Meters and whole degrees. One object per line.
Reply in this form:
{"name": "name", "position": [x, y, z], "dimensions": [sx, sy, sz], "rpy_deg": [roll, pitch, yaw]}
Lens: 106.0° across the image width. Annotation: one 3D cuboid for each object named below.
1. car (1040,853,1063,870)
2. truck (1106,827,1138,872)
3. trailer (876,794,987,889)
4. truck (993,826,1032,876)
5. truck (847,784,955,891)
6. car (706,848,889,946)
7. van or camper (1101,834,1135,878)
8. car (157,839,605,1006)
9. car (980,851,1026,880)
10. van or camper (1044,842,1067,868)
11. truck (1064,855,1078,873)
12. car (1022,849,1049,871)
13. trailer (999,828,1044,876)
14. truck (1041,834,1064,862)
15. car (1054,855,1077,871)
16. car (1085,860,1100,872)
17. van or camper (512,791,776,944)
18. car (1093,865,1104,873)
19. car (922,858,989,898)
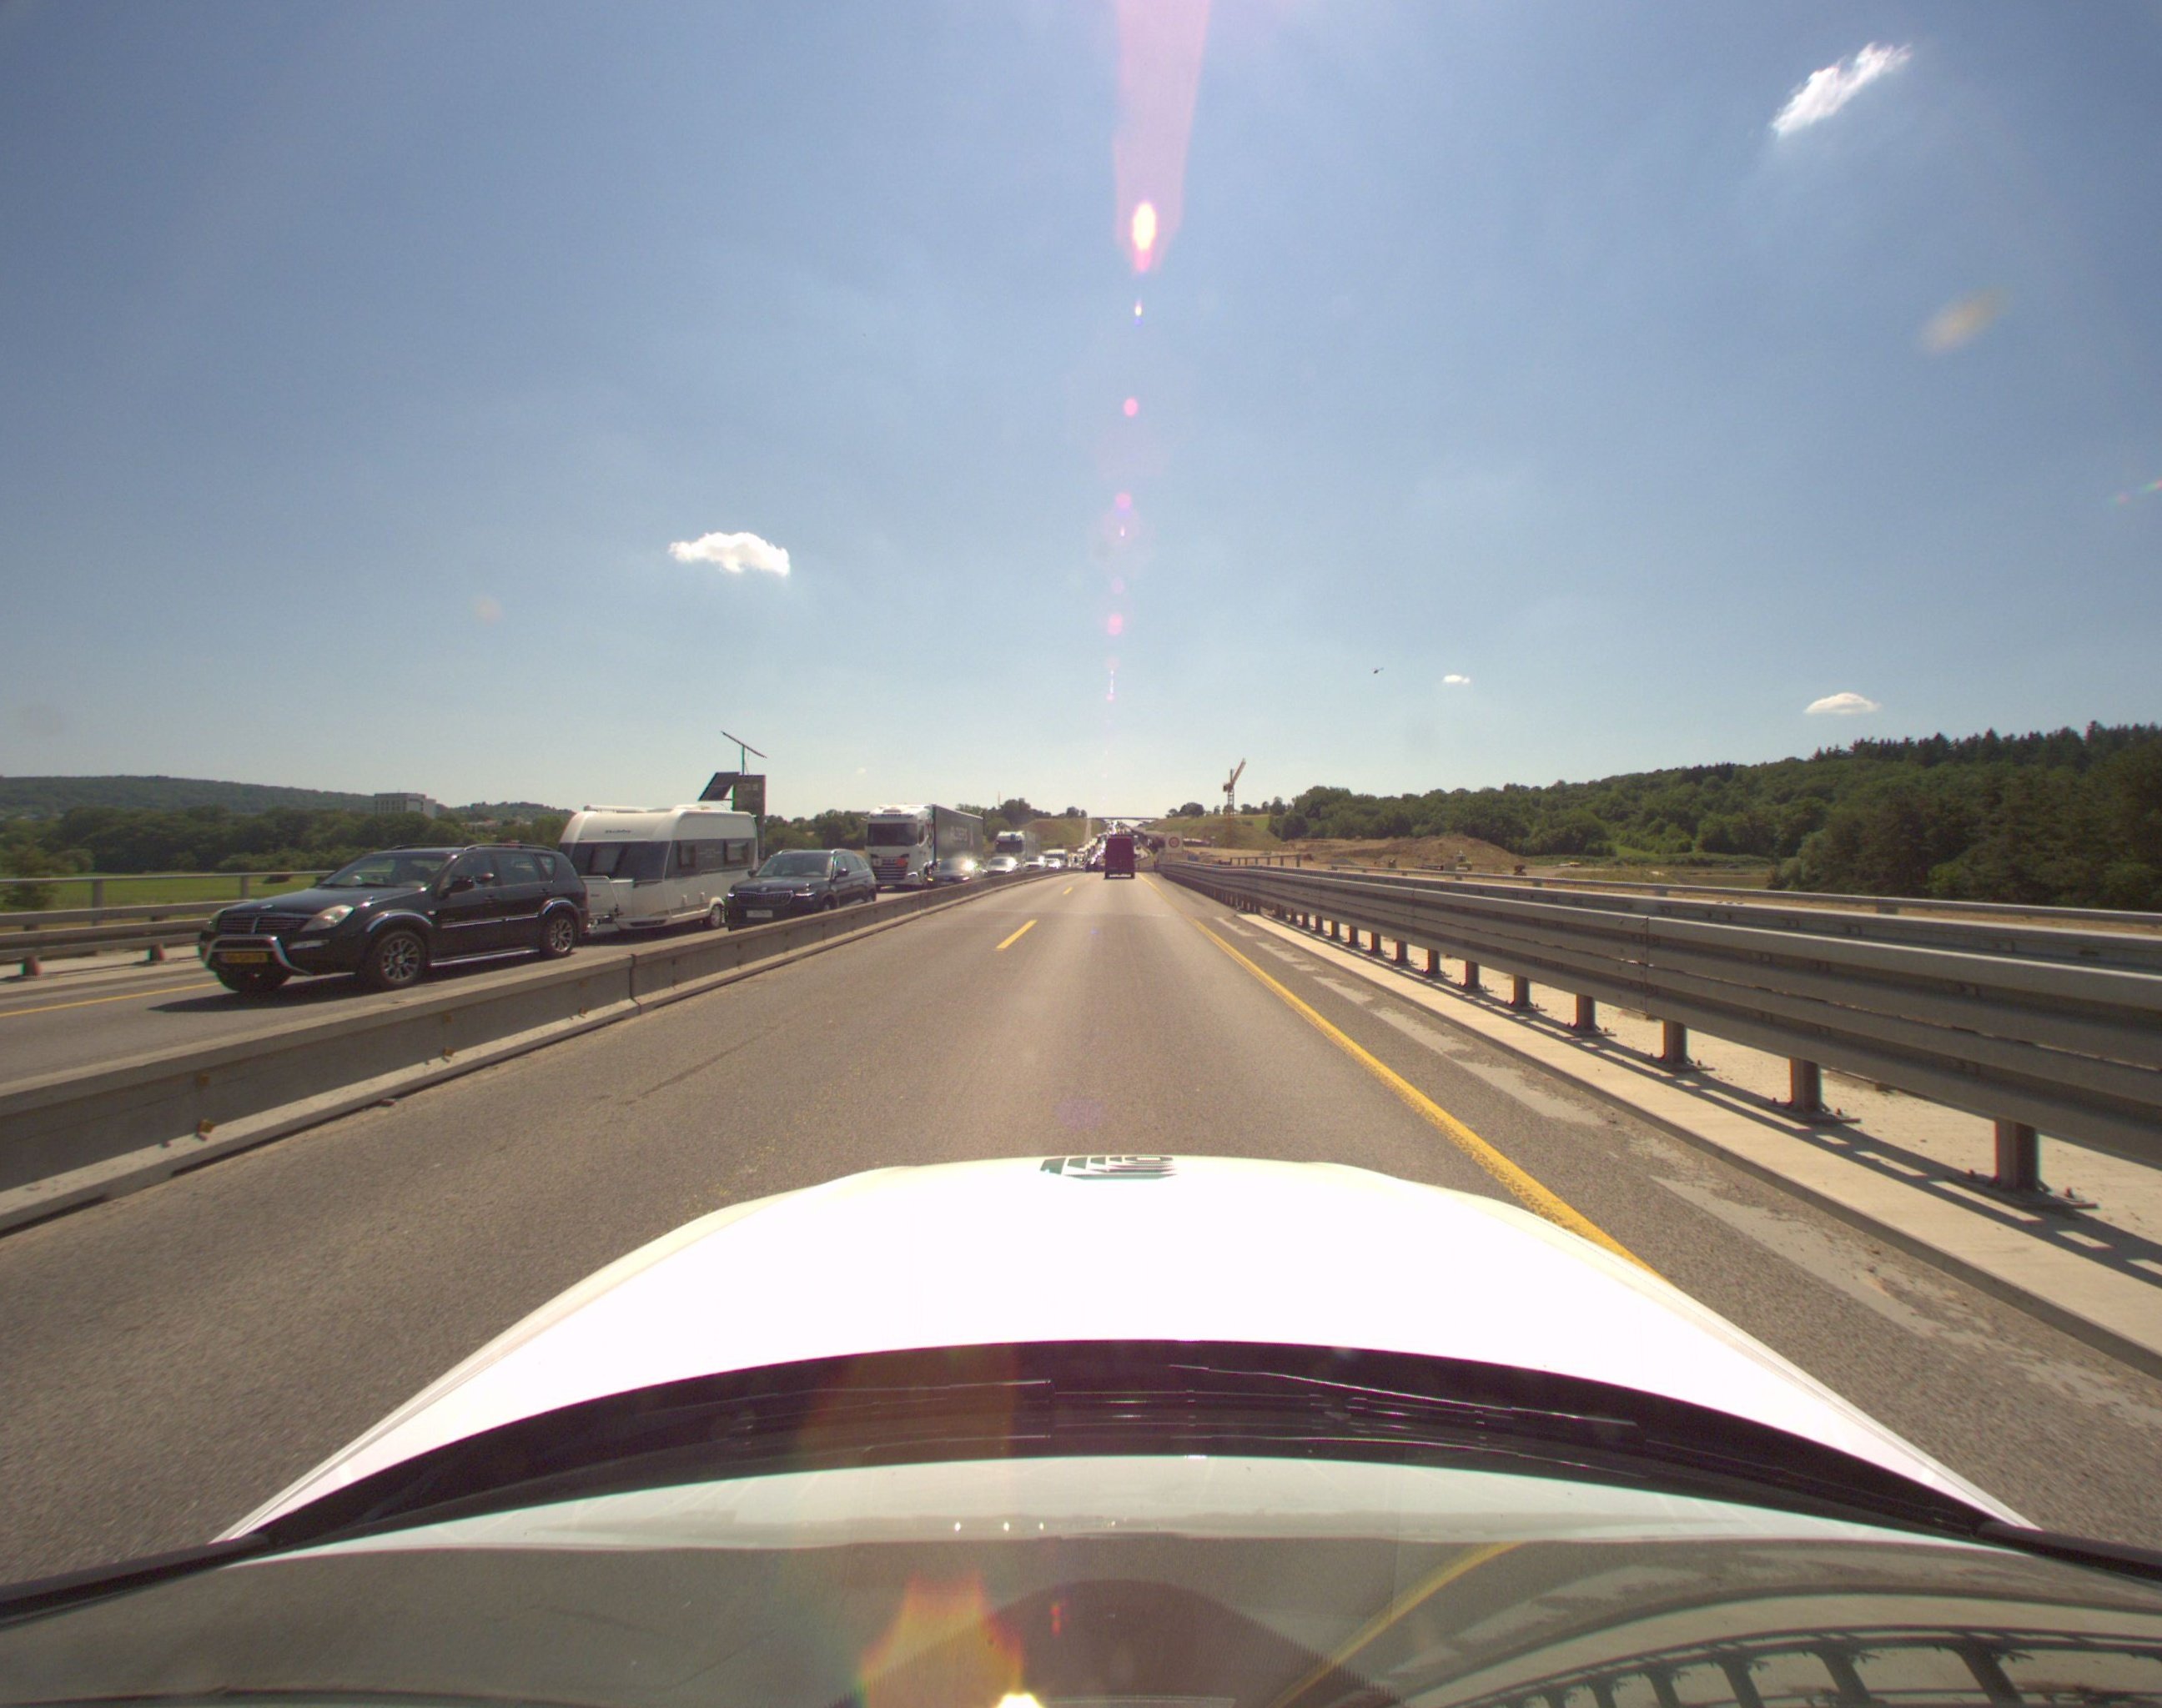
{"name": "car", "position": [-2.709, 0.679, 74.663], "dimensions": [1.988, 1.498, 4.971], "rpy_deg": [1, 0, -2]}
{"name": "truck", "position": [4.499, -0.439, 90.536], "dimensions": [3.010, 4.693, 6.932], "rpy_deg": [-2, 0, 0]}
{"name": "trailer", "position": [-7.884, -0.612, 45.445], "dimensions": [3.089, 4.465, 13.028], "rpy_deg": [-1, 0, 3]}
{"name": "truck", "position": [-6.248, -0.272, 75.132], "dimensions": [2.795, 4.392, 6.229], "rpy_deg": [-1, 0, 3]}
{"name": "truck", "position": [-8.189, -0.695, 38.129], "dimensions": [3.065, 4.537, 7.108], "rpy_deg": [-1, 0, 3]}
{"name": "car", "position": [-5.543, 0.745, 16.631], "dimensions": [1.839, 1.688, 4.623], "rpy_deg": [1, 0, 3]}
{"name": "van or camper", "position": [2.398, 0.134, 53.306], "dimensions": [2.022, 2.744, 4.515], "rpy_deg": [0, 0, 0]}
{"name": "car", "position": [-8.842, 0.732, 11.046], "dimensions": [1.760, 1.734, 4.794], "rpy_deg": [-1, 0, 2]}
{"name": "car", "position": [-4.306, 0.606, 45.486], "dimensions": [1.858, 1.459, 4.610], "rpy_deg": [1, 0, 3]}
{"name": "van or camper", "position": [-2.638, 0.090, 85.090], "dimensions": [2.212, 2.511, 6.530], "rpy_deg": [1, 0, -1]}
{"name": "truck", "position": [-2.378, 2.287, 185.149], "dimensions": [2.970, 4.185, 5.868], "rpy_deg": [0, -1, -3]}
{"name": "car", "position": [-3.546, 0.468, 64.485], "dimensions": [1.750, 1.646, 4.157], "rpy_deg": [1, 0, 2]}
{"name": "trailer", "position": [-5.882, -0.095, 82.545], "dimensions": [2.803, 4.430, 13.176], "rpy_deg": [-1, -1, 3]}
{"name": "truck", "position": [-4.310, -0.861, 124.417], "dimensions": [2.792, 4.152, 10.081], "rpy_deg": [1, 0, 1]}
{"name": "car", "position": [-1.844, 1.032, 98.141], "dimensions": [2.362, 1.726, 5.785], "rpy_deg": [1, 0, 3]}
{"name": "car", "position": [1.491, 1.580, 106.648], "dimensions": [2.005, 1.545, 4.132], "rpy_deg": [0, 0, 1]}
{"name": "van or camper", "position": [-8.824, 0.243, 17.215], "dimensions": [2.493, 2.698, 5.247], "rpy_deg": [-1, 0, 3]}
{"name": "car", "position": [3.304, 2.840, 154.339], "dimensions": [2.004, 1.545, 4.134], "rpy_deg": [1, 0, 1]}
{"name": "car", "position": [-4.990, 0.921, 33.013], "dimensions": [1.770, 1.420, 4.541], "rpy_deg": [1, 0, 3]}
